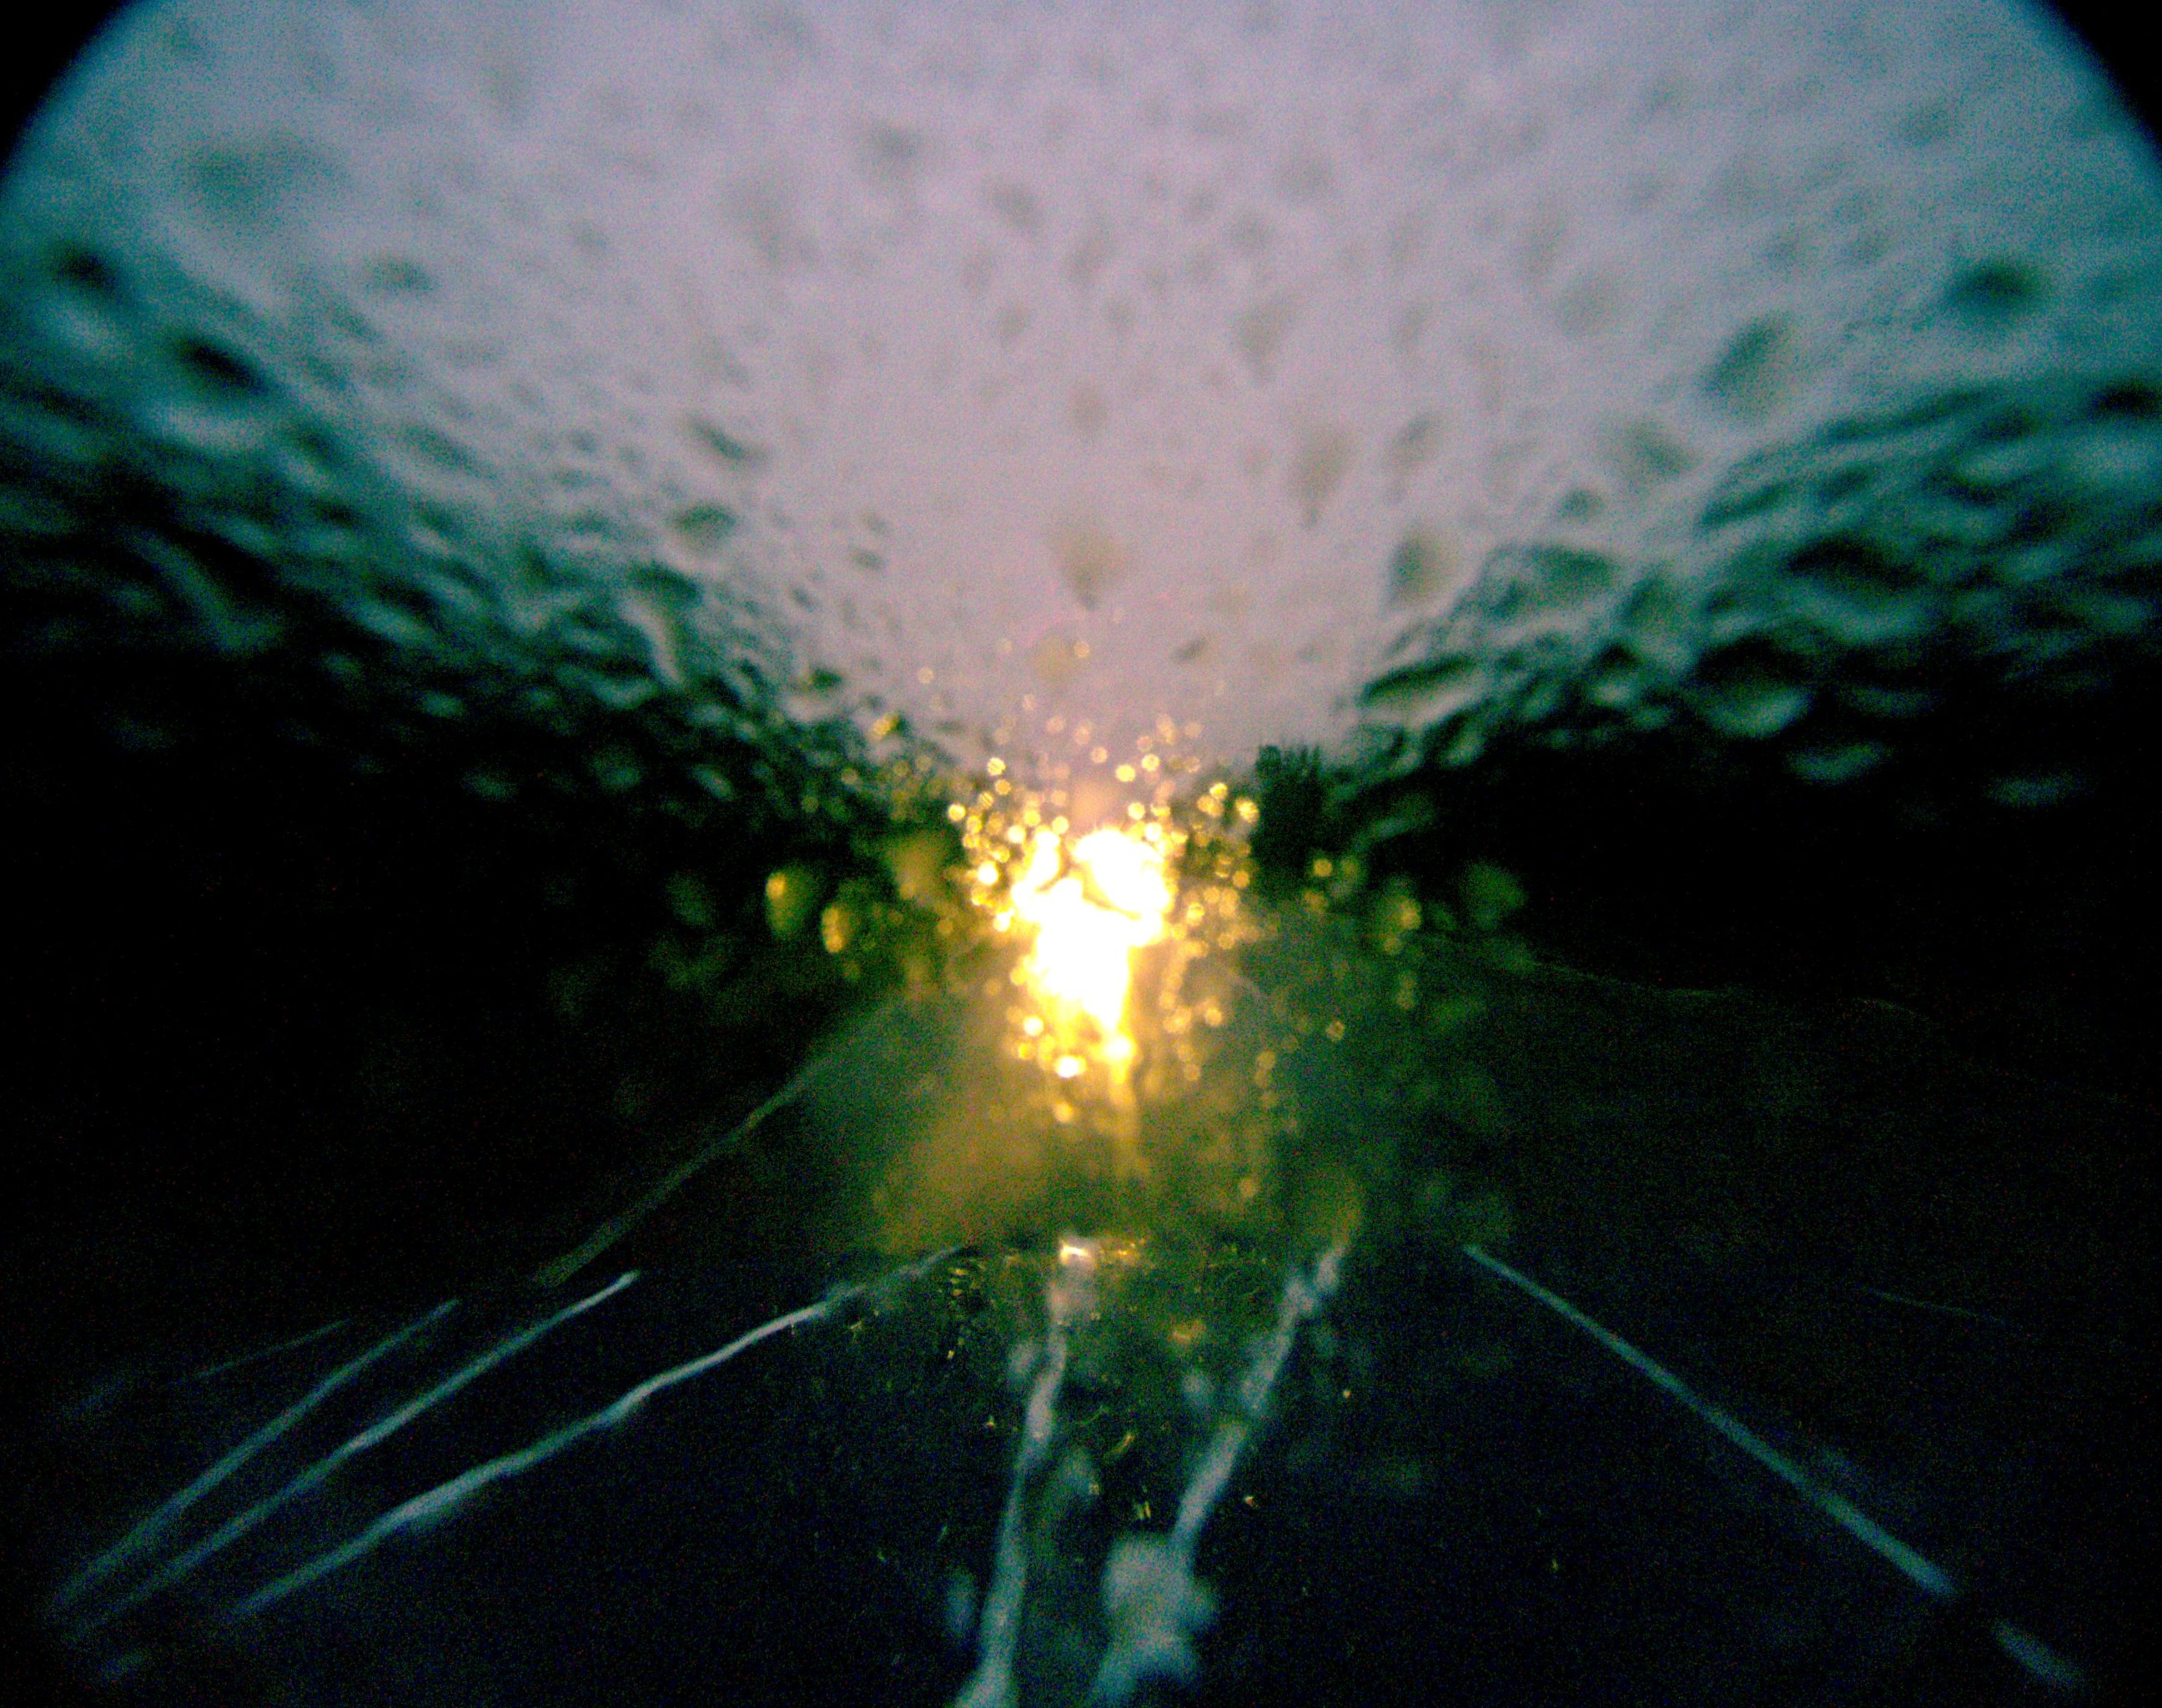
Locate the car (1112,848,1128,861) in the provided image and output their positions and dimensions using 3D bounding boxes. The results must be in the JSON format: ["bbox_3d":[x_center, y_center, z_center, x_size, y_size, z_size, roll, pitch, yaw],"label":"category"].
[{"bbox_3d":[5.092,0.062,99.429,1.738,1.525,4.959,-2,0,0],"label":"car"}]
